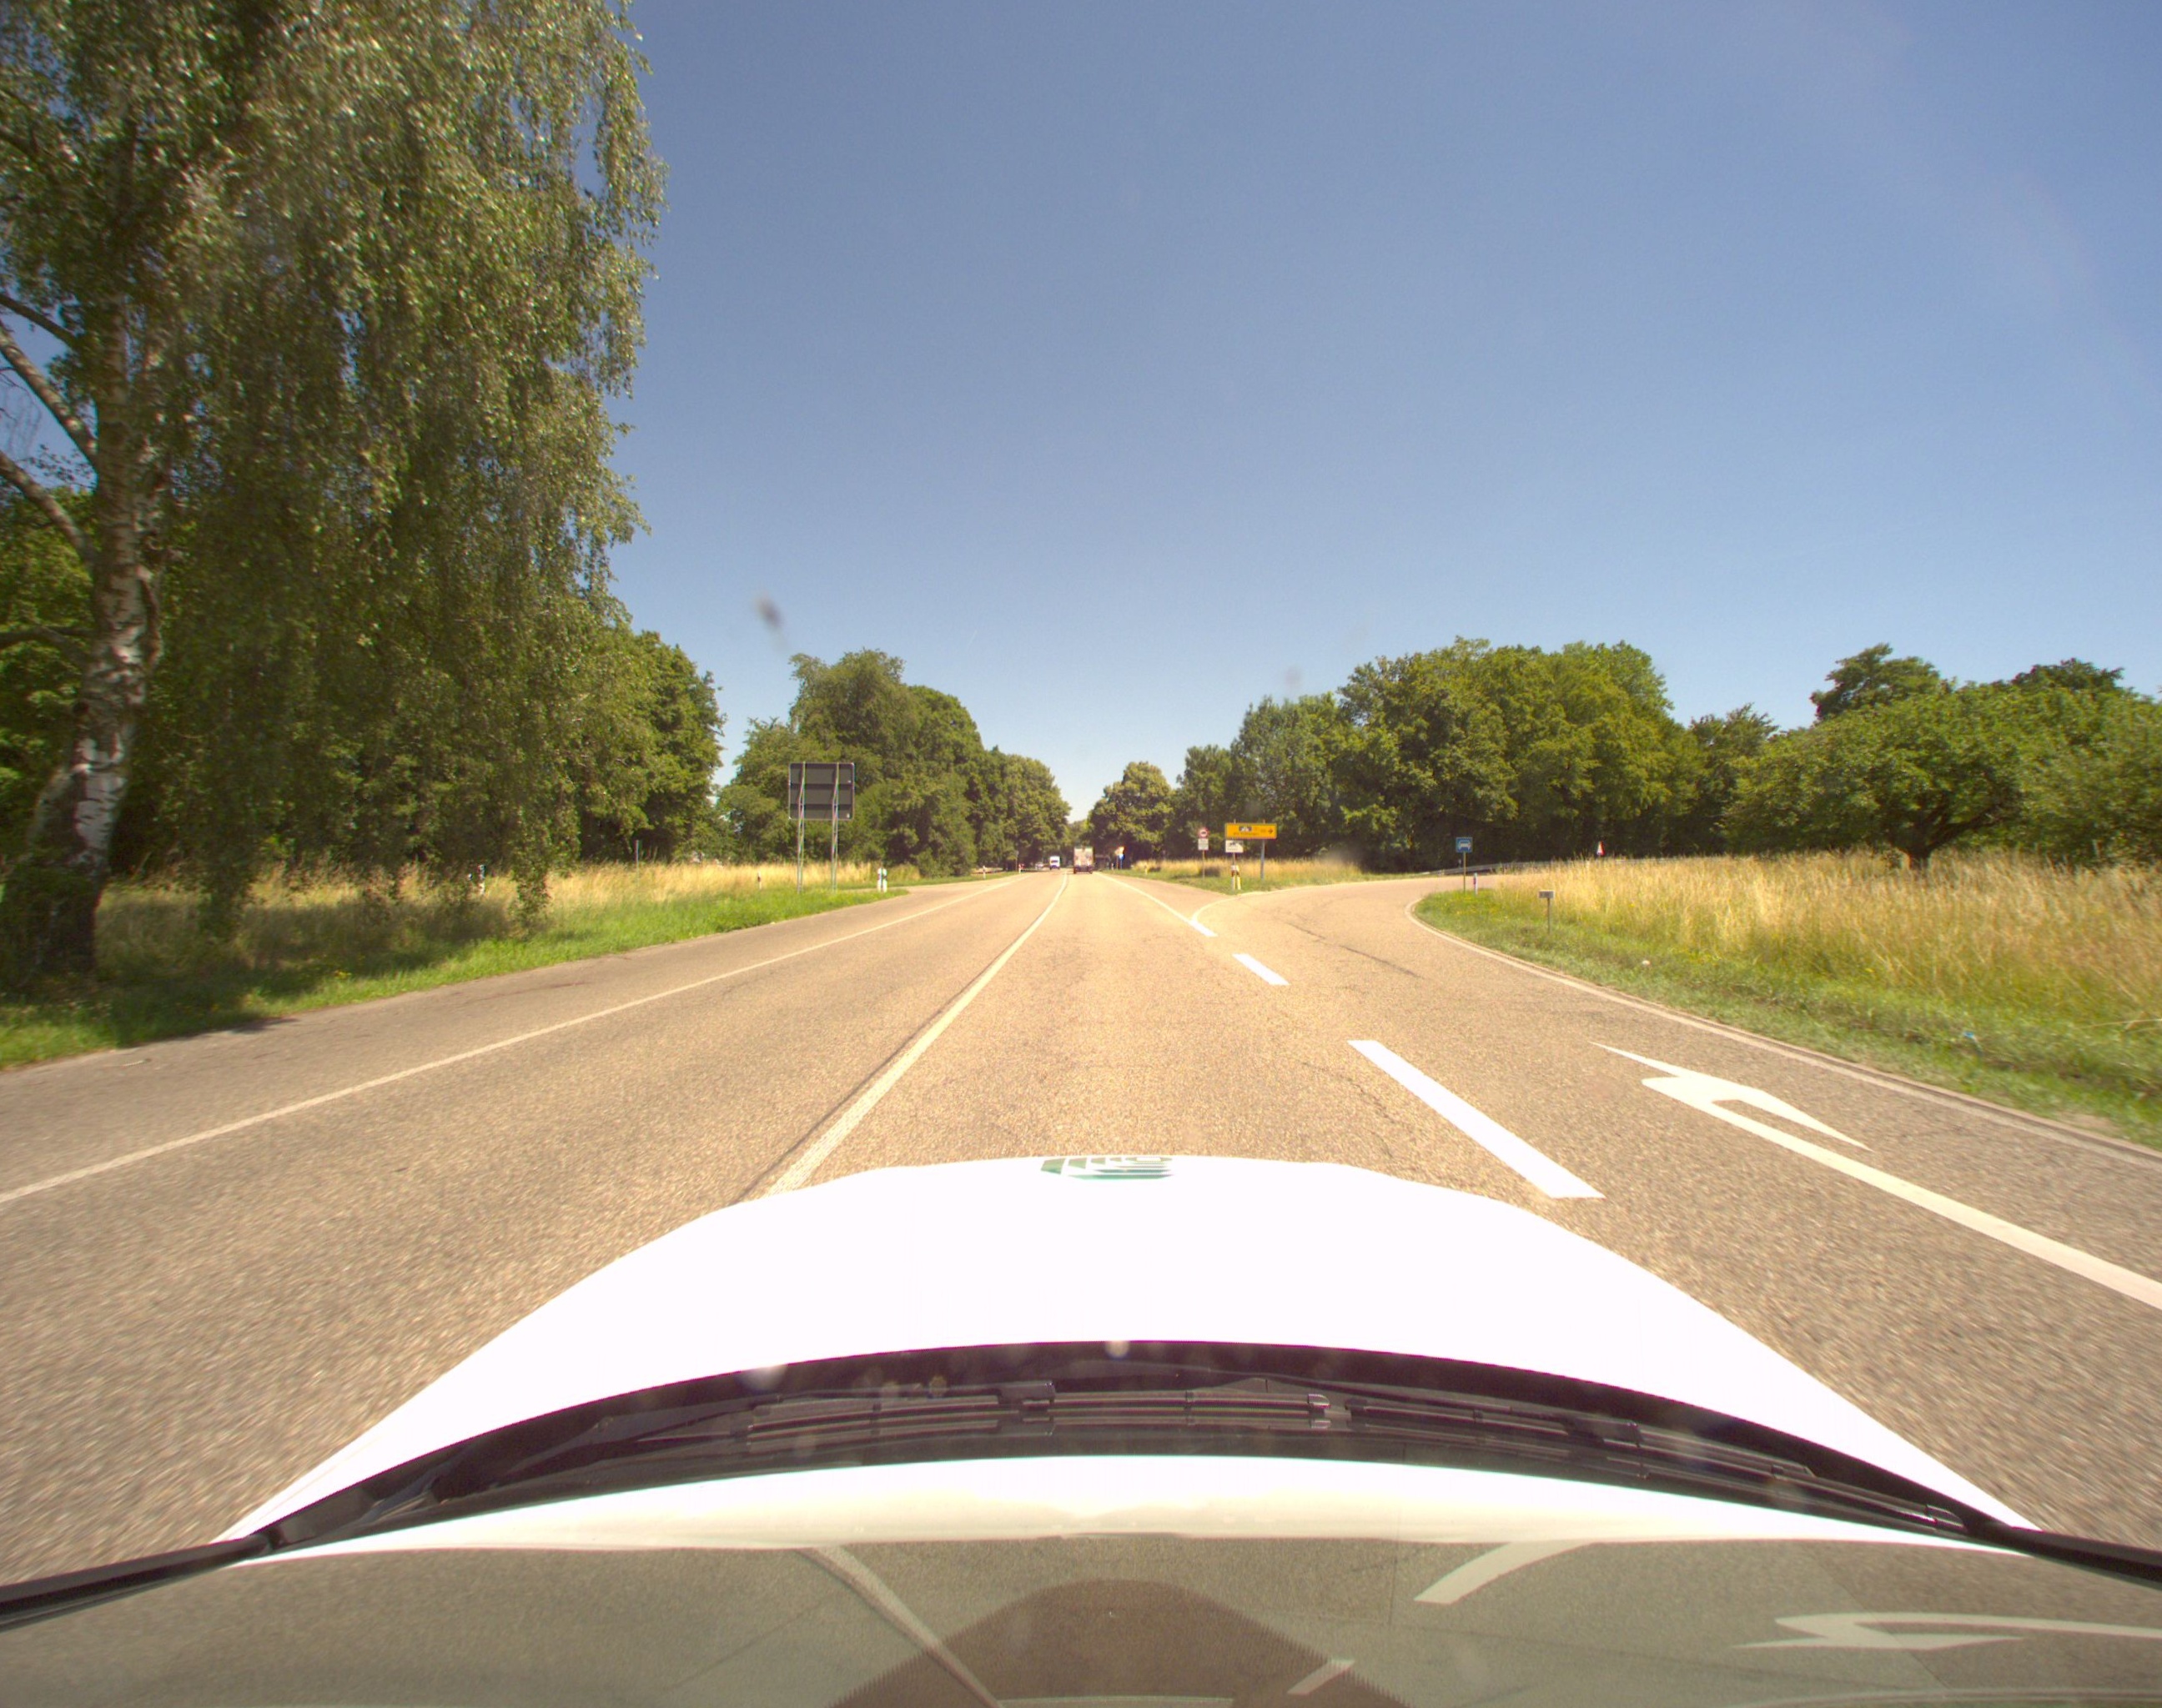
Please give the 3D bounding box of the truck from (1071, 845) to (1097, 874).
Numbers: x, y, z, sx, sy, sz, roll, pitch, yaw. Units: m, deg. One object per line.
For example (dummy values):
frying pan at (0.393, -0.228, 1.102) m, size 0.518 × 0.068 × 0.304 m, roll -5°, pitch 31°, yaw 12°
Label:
truck at (0.356, 0.597, 90.359) m, size 2.523 × 3.135 × 5.365 m, roll -1°, pitch 0°, yaw 3°

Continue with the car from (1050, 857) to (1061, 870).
car at (-5.390, 1.960, 171.521) m, size 2.066 × 2.628 × 6.783 m, roll -1°, pitch -1°, yaw 0°
